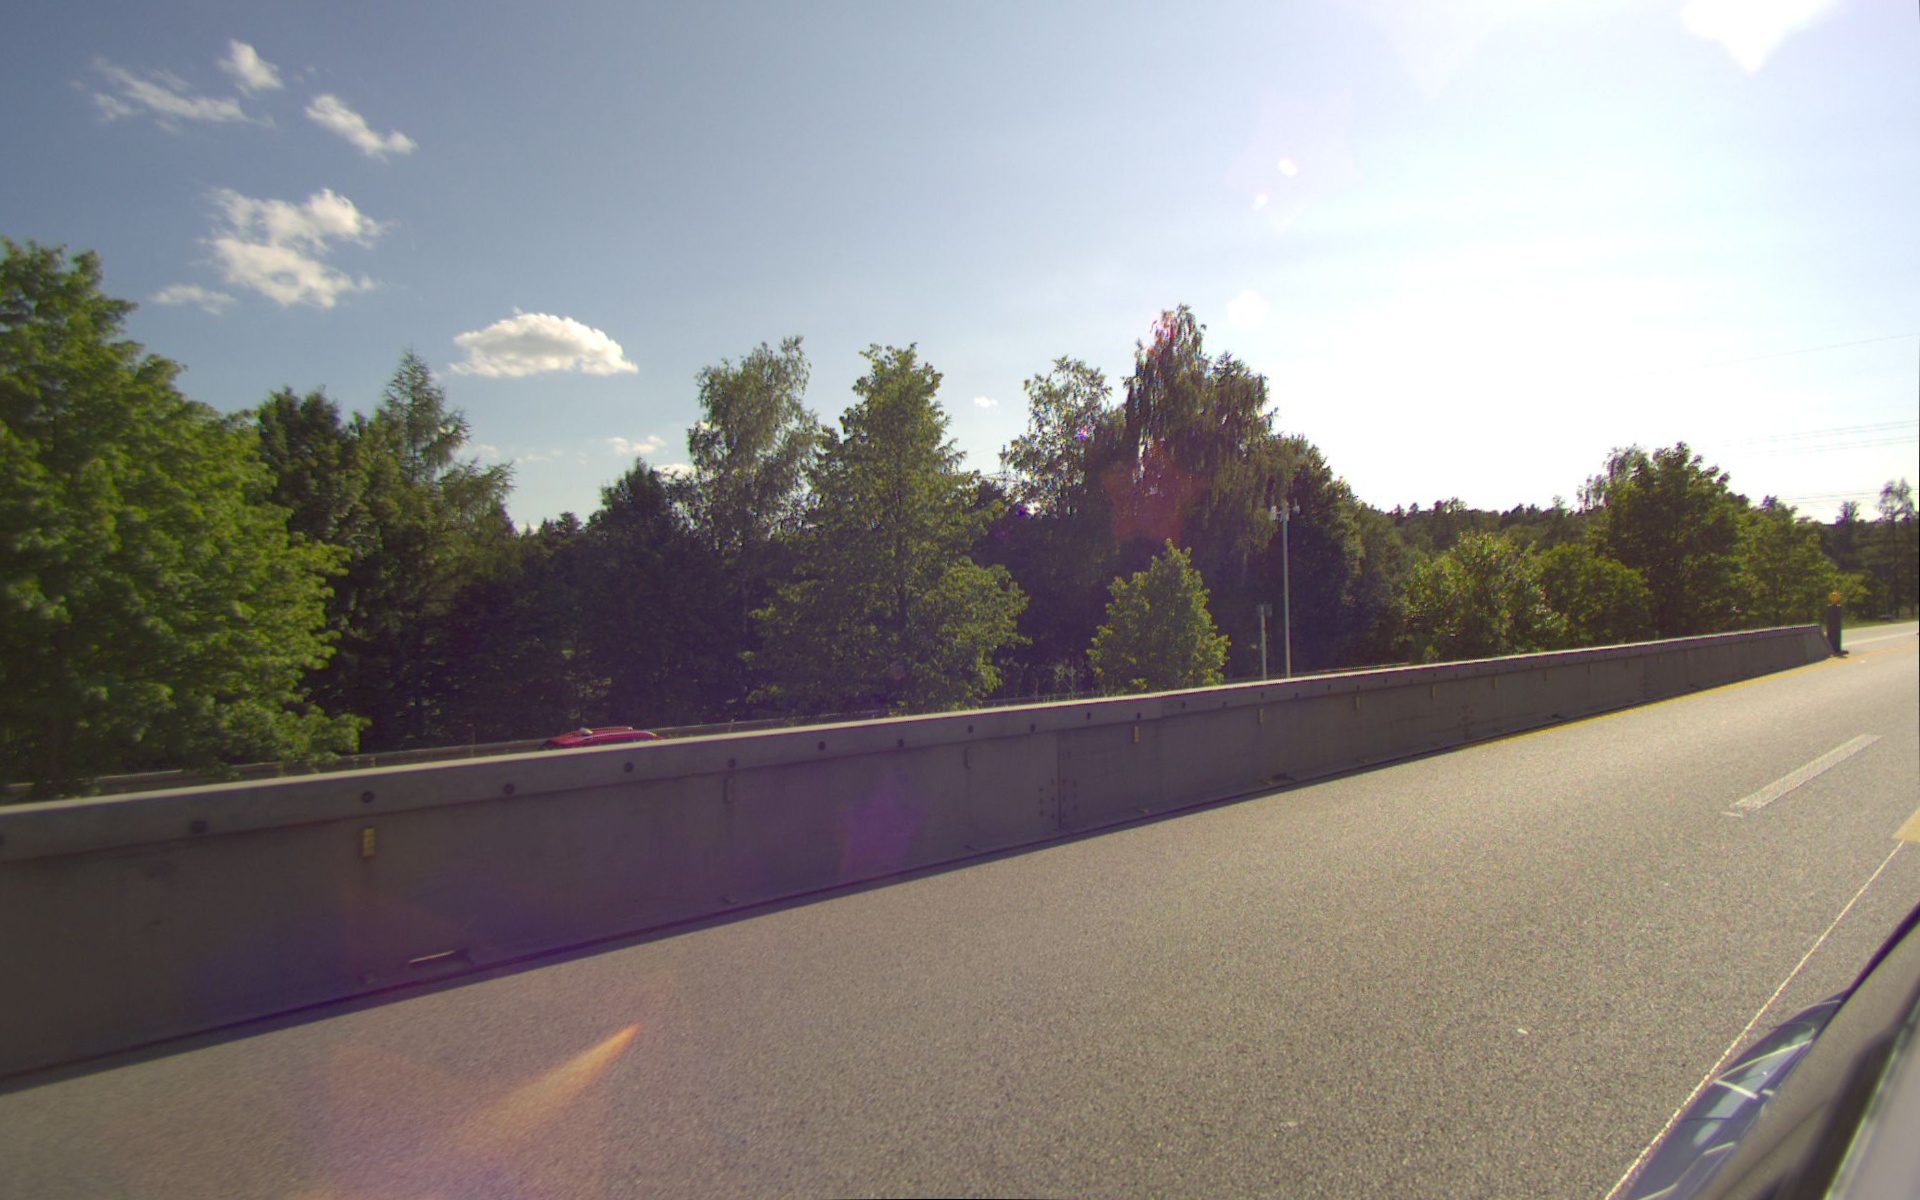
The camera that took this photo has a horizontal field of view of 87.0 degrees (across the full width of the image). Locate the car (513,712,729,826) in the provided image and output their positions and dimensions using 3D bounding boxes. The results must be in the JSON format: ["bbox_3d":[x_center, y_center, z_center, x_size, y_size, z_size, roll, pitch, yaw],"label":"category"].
[{"bbox_3d":[-6.838,3.325,20.572,3.811,1.674,1.768,0,0,-39],"label":"car"}]
